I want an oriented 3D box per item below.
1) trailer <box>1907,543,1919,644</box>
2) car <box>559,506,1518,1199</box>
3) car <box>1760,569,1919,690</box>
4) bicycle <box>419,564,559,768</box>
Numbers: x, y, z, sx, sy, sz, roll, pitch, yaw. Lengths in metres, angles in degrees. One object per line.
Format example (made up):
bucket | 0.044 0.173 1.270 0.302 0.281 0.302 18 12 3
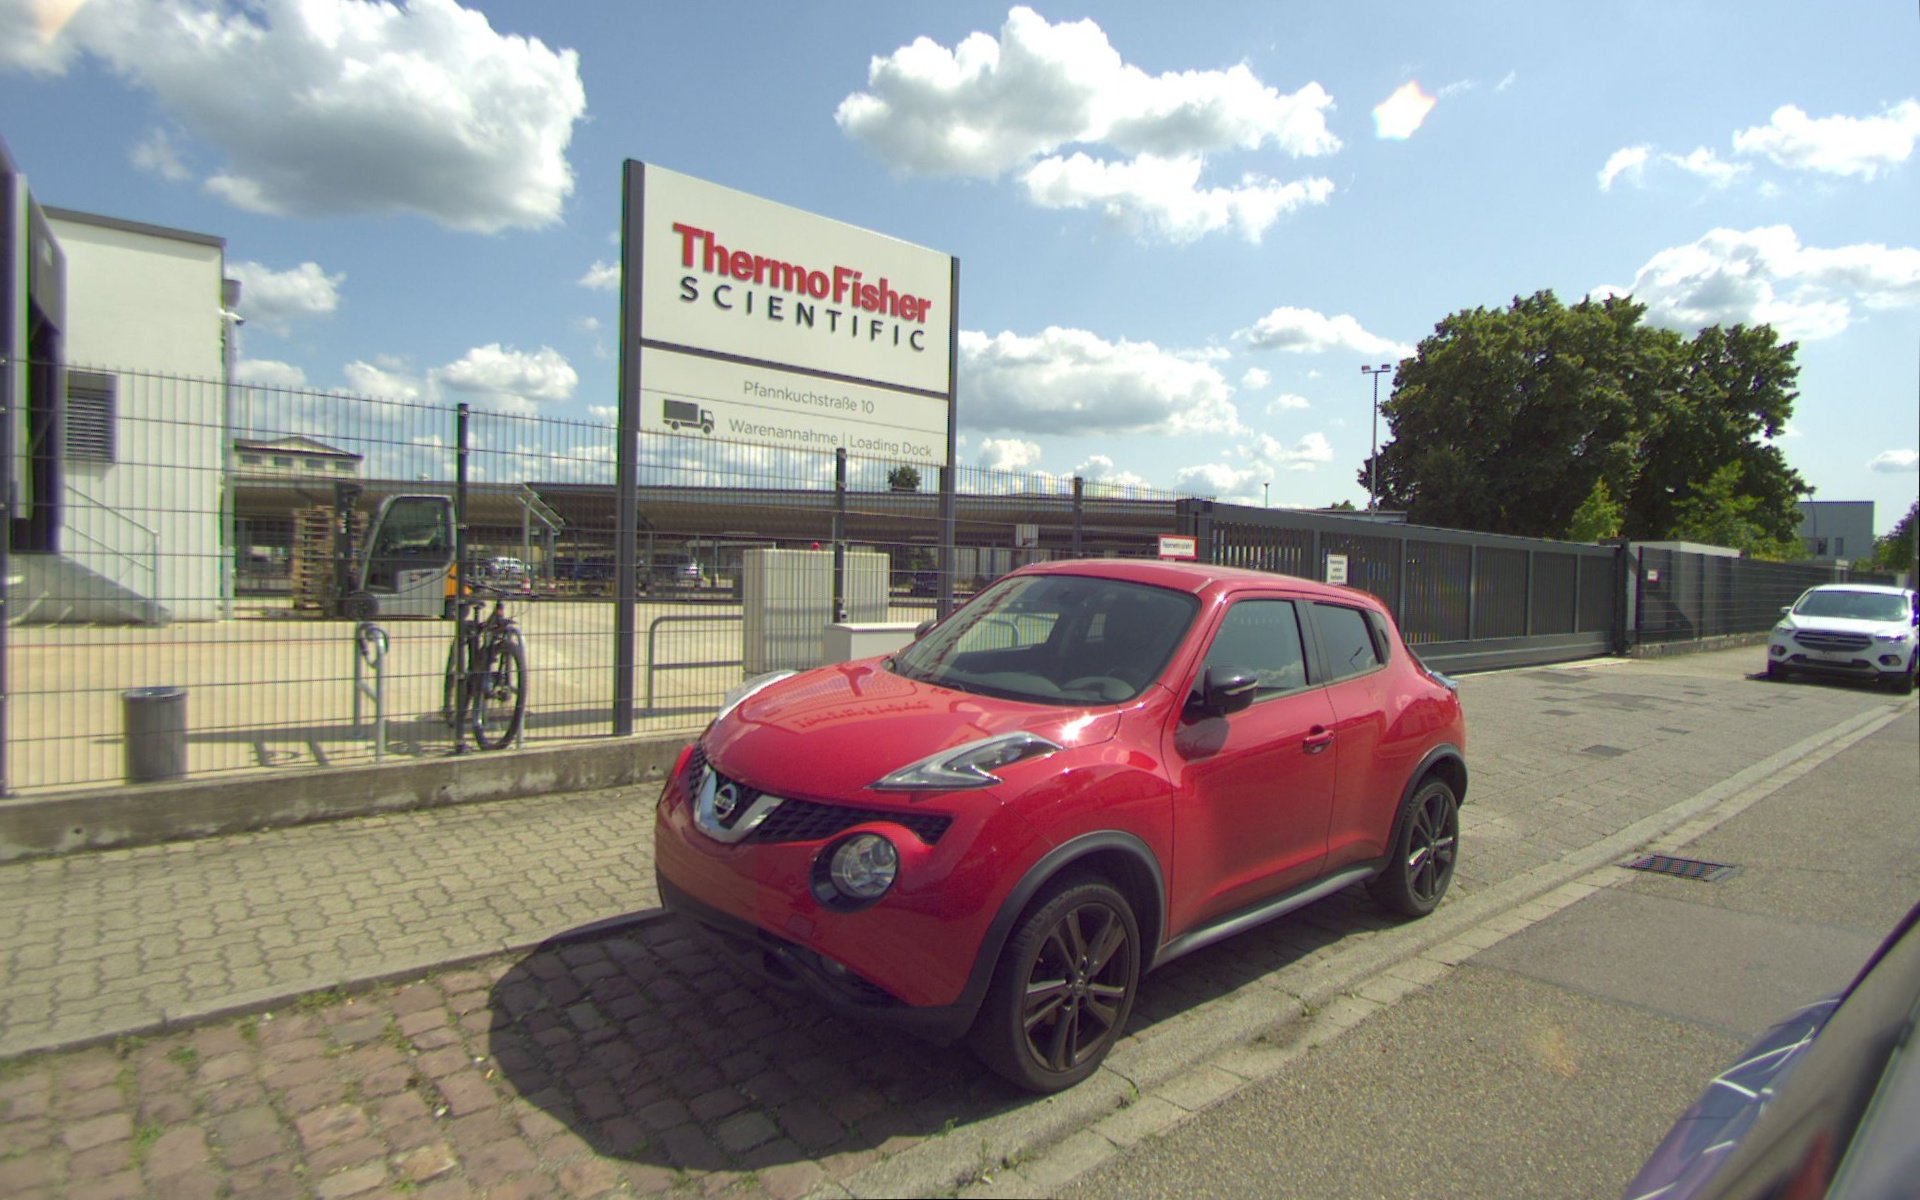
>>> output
trailer | 29.351 -0.130 29.172 6.114 2.769 2.210 -1 5 -41
car | 0.638 0.539 4.322 4.022 1.643 1.708 -1 5 -41
car | 15.491 0.428 17.282 4.597 1.714 1.940 0 4 -41
bicycle | -3.292 0.370 6.978 0.449 1.157 1.956 1 3 -37
